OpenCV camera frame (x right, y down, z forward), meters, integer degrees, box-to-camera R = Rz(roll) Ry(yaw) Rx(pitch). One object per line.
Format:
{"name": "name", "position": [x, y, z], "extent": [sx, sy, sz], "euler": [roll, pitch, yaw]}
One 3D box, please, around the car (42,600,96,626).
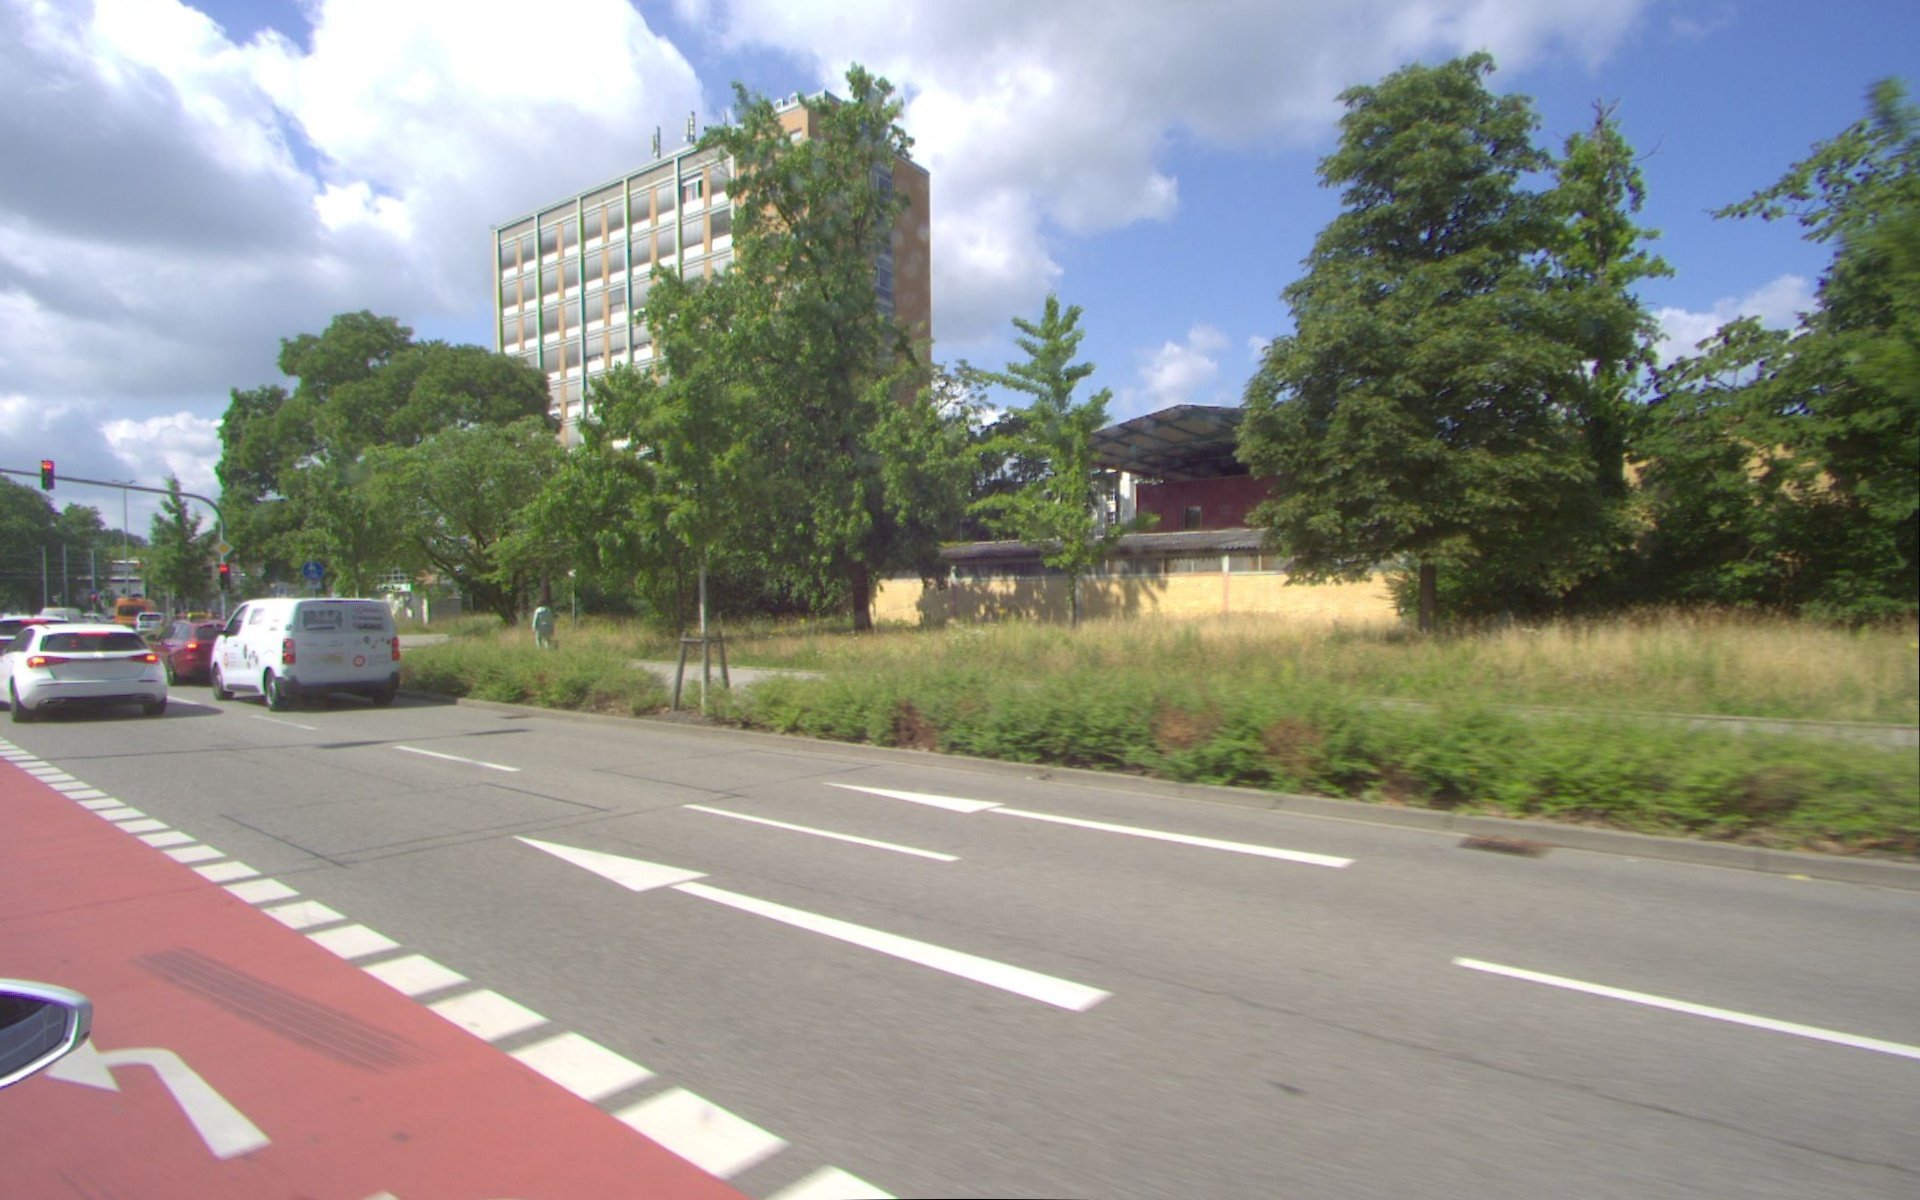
{"name": "car", "position": [-71.853, 1.027, 80.798], "extent": [1.980, 1.993, 4.620], "euler": [-1, 0, -26]}

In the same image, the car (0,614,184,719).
{"name": "car", "position": [-14.434, 0.975, 16.426], "extent": [4.334, 1.443, 1.894], "euler": [0, 0, 41]}

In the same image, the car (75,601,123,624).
{"name": "car", "position": [-75.956, 1.067, 88.404], "extent": [1.967, 1.964, 4.620], "euler": [-1, 0, -26]}

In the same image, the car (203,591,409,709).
{"name": "car", "position": [-12.073, 0.811, 18.352], "extent": [4.769, 1.895, 1.933], "euler": [0, 0, 41]}

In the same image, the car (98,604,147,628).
{"name": "car", "position": [-68.226, 1.254, 81.619], "extent": [1.968, 1.851, 3.985], "euler": [-1, 0, -24]}

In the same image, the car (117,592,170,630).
{"name": "car", "position": [-63.528, 0.848, 78.014], "extent": [2.103, 2.818, 4.620], "euler": [-1, 0, -26]}

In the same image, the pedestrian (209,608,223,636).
{"name": "pedestrian", "position": [-46.066, 1.357, 61.975], "extent": [0.654, 1.756, 0.573], "euler": [-1, 1, -36]}

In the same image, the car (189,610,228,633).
{"name": "car", "position": [-69.193, 1.942, 92.302], "extent": [1.967, 1.964, 4.620], "euler": [-1, 0, -26]}

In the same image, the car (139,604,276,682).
{"name": "car", "position": [-17.771, 0.941, 23.570], "extent": [4.410, 1.663, 1.673], "euler": [0, 0, 40]}

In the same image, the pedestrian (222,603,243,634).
{"name": "pedestrian", "position": [-35.343, 0.889, 48.644], "extent": [0.765, 1.528, 0.546], "euler": [0, 1, -45]}

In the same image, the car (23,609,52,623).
{"name": "car", "position": [-96.102, 1.701, 104.324], "extent": [1.776, 1.406, 4.196], "euler": [0, -1, -37]}

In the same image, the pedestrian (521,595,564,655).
{"name": "pedestrian", "position": [-11.680, 0.686, 28.024], "extent": [0.712, 1.660, 0.863], "euler": [0, 1, 42]}

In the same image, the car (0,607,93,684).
{"name": "car", "position": [-20.580, 0.950, 21.994], "extent": [3.964, 1.559, 1.783], "euler": [0, -1, 41]}

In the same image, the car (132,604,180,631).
{"name": "car", "position": [-57.362, 1.222, 71.516], "extent": [1.970, 1.819, 3.981], "euler": [-1, 0, -29]}

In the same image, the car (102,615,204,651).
{"name": "car", "position": [-43.700, 1.826, 54.351], "extent": [1.961, 1.838, 4.002], "euler": [1, -3, 8]}
